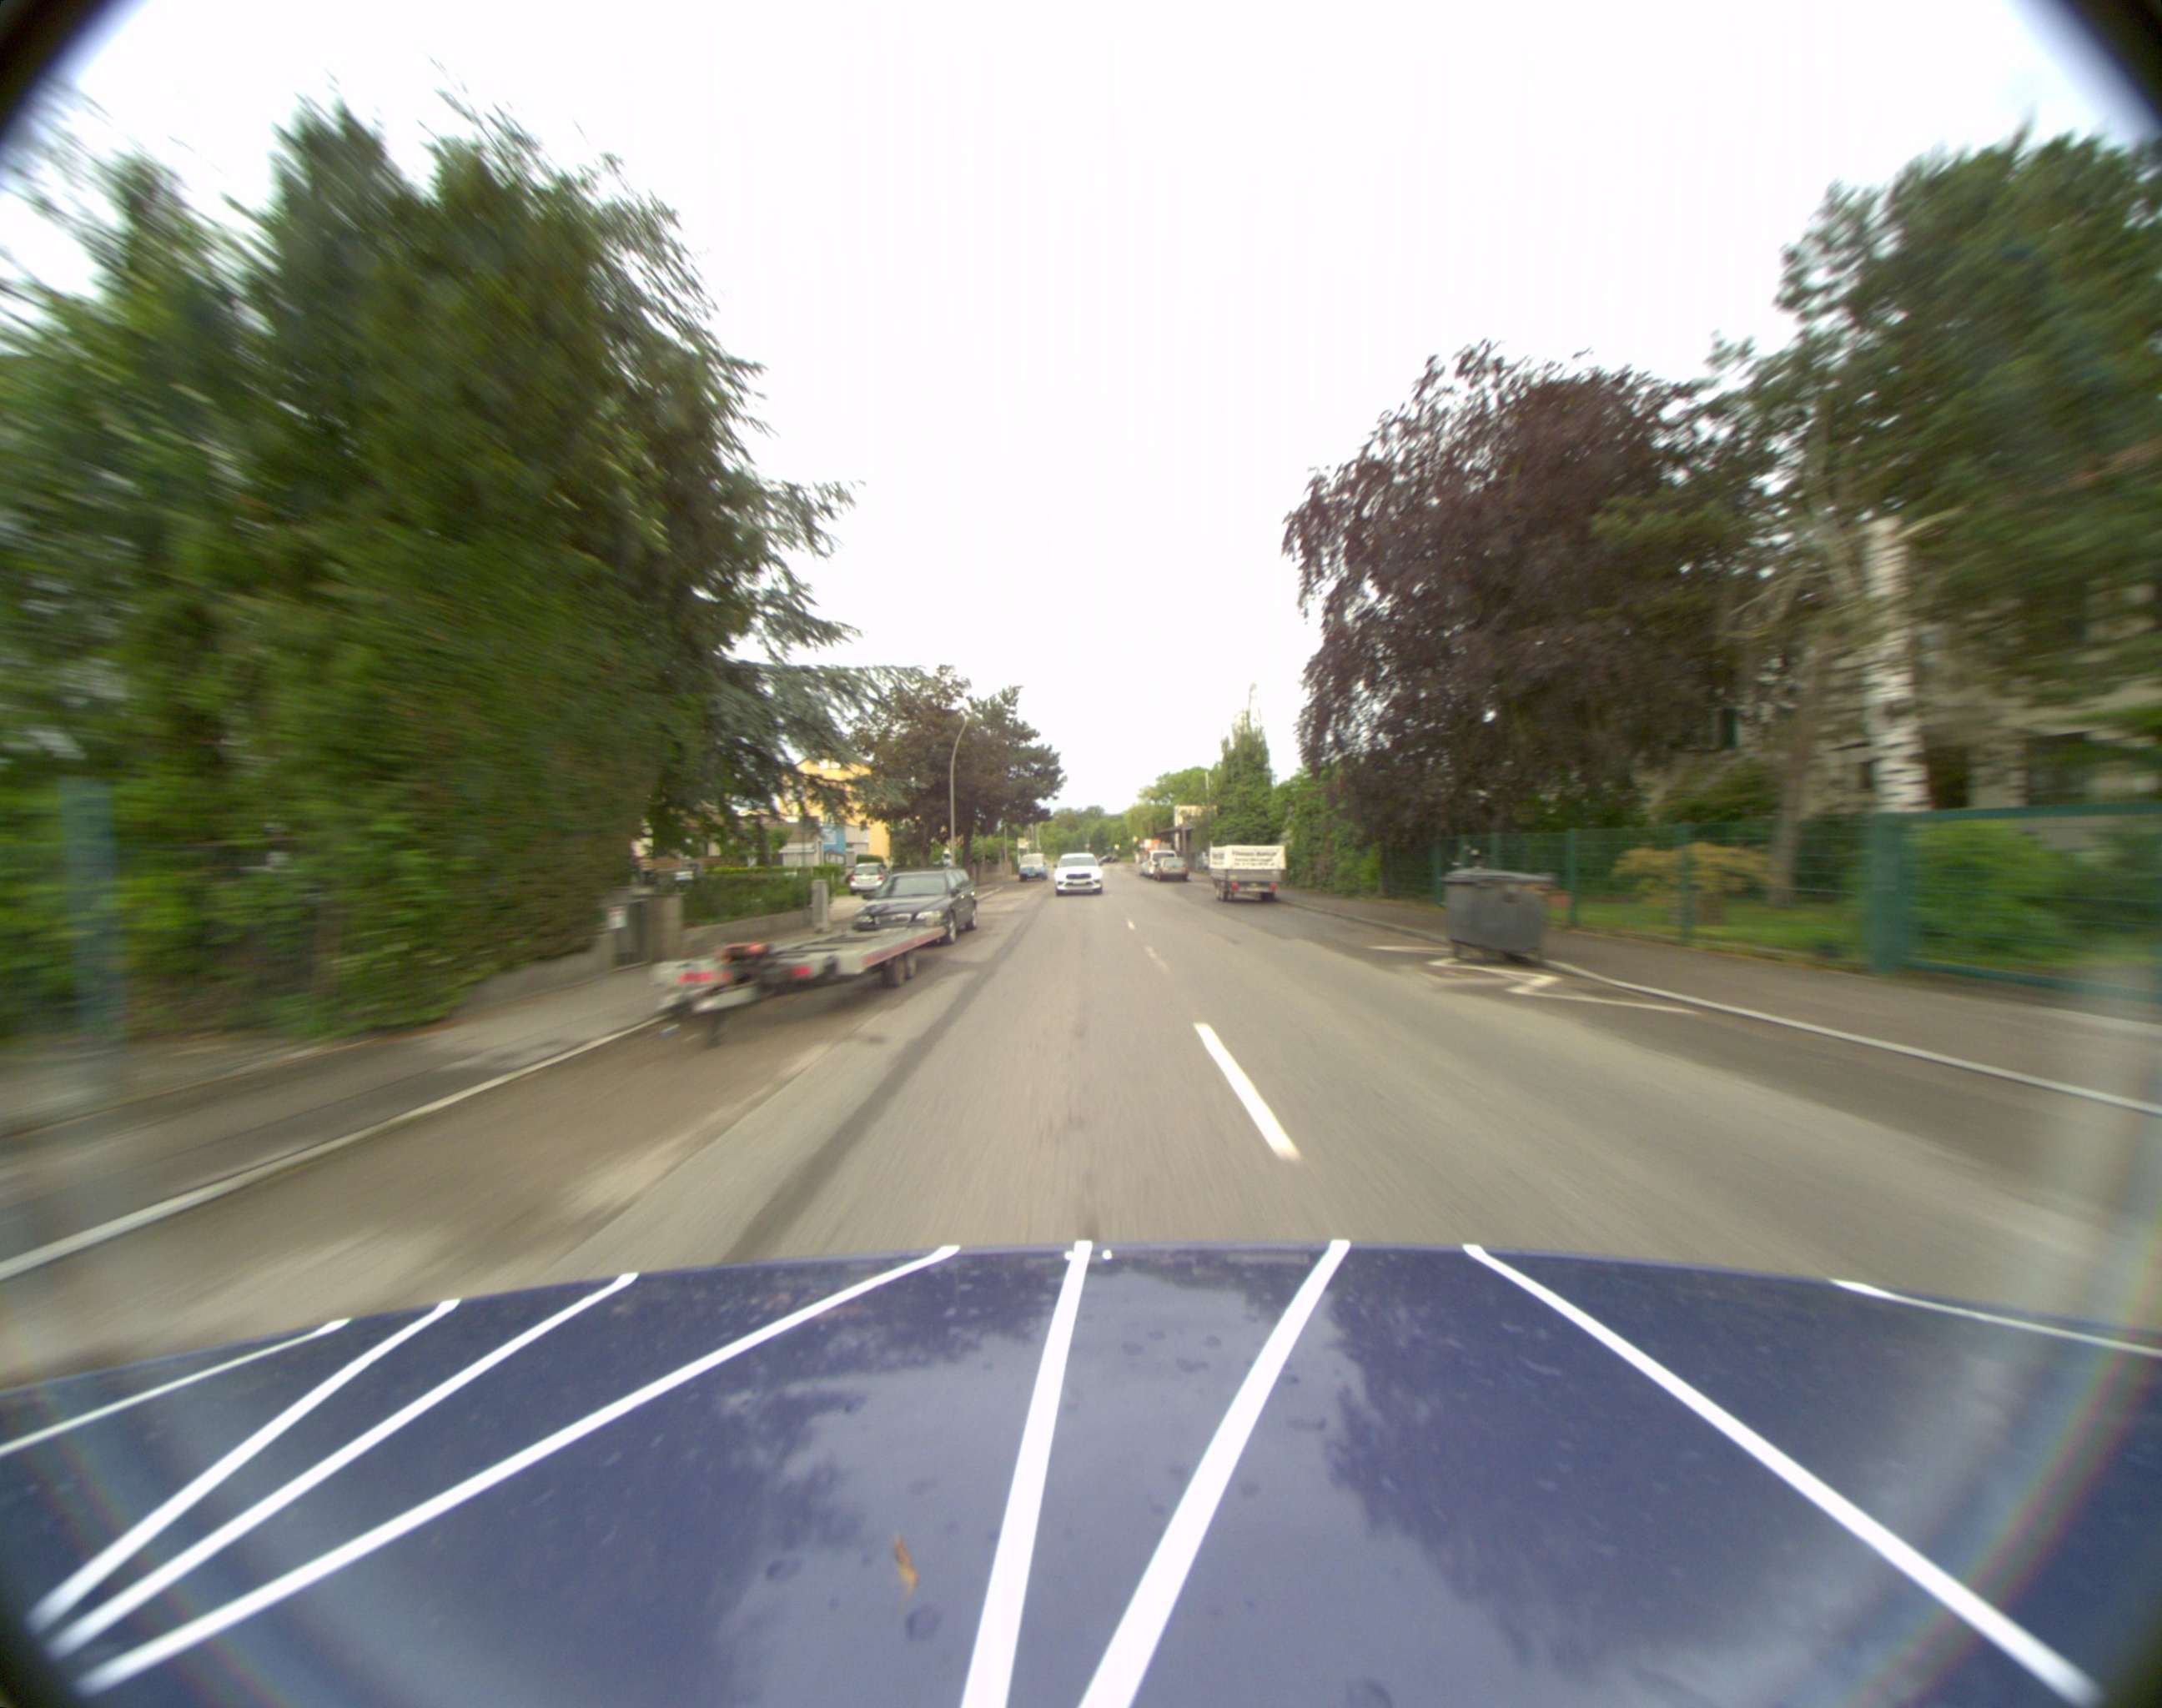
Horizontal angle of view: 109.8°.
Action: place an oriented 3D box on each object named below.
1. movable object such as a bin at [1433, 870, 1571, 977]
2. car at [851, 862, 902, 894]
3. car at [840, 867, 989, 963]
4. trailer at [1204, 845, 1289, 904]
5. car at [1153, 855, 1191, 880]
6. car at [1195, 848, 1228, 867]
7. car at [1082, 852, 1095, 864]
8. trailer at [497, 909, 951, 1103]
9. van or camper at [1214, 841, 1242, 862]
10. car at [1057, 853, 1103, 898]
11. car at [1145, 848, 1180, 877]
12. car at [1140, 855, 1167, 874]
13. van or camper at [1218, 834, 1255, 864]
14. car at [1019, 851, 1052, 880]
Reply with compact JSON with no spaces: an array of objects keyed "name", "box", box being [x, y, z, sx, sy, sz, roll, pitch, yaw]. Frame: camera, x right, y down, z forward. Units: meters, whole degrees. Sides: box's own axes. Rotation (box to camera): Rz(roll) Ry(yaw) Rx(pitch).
[{"name":"movable object such as a bin","box":[5.830,0.924,10.637,1.103,1.303,1.425,-3,1,0]},{"name":"car","box":[-10.545,1.191,39.405,1.749,1.479,4.116,-2,0,-4]},{"name":"car","box":[-3.192,1.115,15.575,1.744,1.424,4.648,-4,0,2]},{"name":"trailer","box":[5.532,0.633,26.015,1.934,1.755,4.548,-2,0,1]},{"name":"car","box":[5.538,0.787,46.663,1.821,1.419,4.981,0,0,1]},{"name":"car","box":[10.845,0.286,63.302,1.833,1.432,4.787,-3,1,0]},{"name":"car","box":[1.147,0.615,115.984,1.898,1.678,4.231,0,1,1]},{"name":"trailer","box":[-3.250,1.378,9.022,2.179,0.892,6.636,-3,0,0]},{"name":"van or camper","box":[14.328,-0.269,74.179,1.926,1.924,4.373,-3,1,2]},{"name":"car","box":[-0.096,0.843,31.565,1.692,1.651,3.999,-3,1,-2]},{"name":"car","box":[5.507,0.513,52.049,1.898,1.881,5.210,0,1,1]},{"name":"car","box":[5.507,0.777,58.205,1.642,1.357,4.706,0,0,1]},{"name":"van or camper","box":[13.712,-0.458,67.322,1.999,2.476,5.197,-3,1,0]},{"name":"car","box":[-3.118,0.749,53.465,1.736,1.817,5.553,-4,0,2]}]
